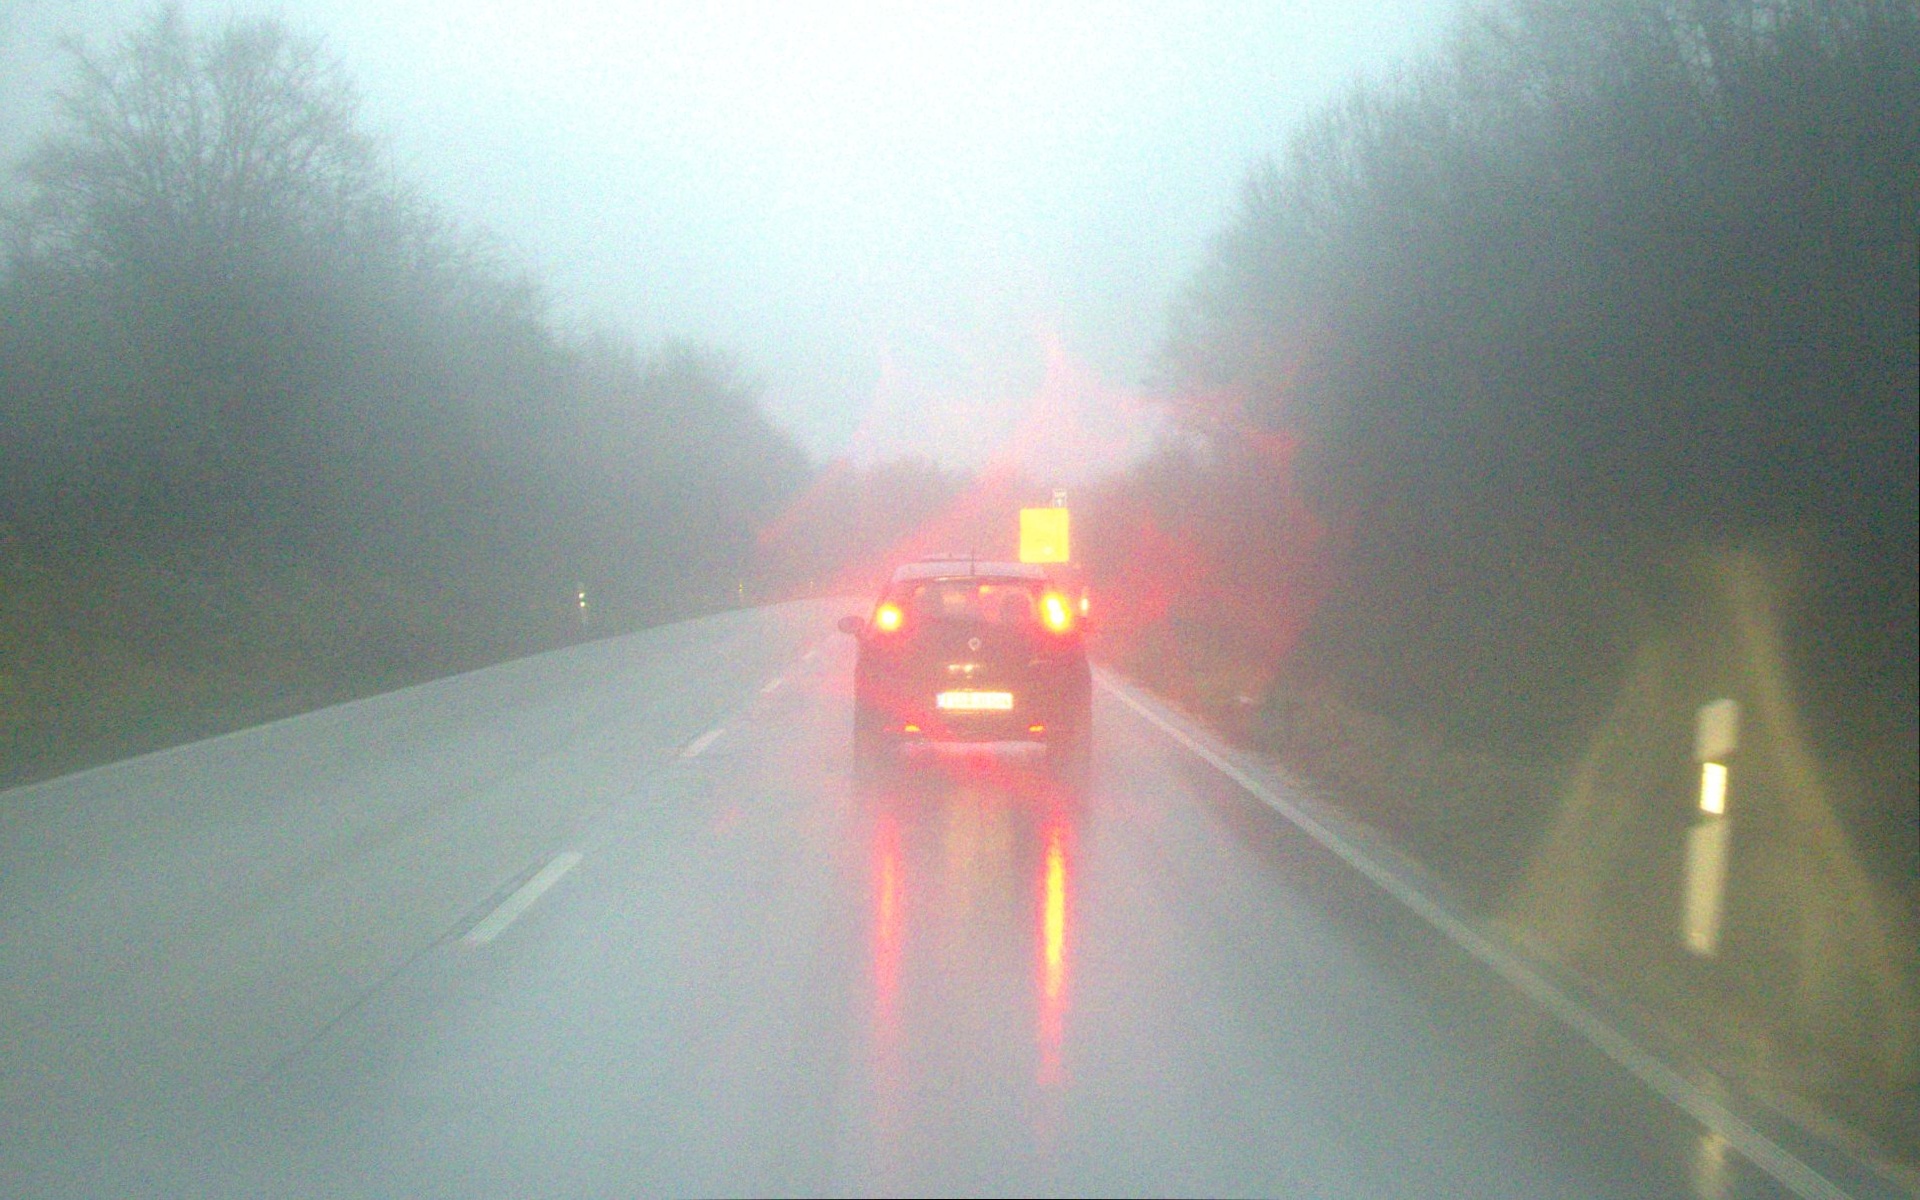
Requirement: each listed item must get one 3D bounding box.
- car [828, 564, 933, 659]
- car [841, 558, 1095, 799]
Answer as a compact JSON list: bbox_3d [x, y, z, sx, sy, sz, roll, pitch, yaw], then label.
[{"bbox_3d":[-1.406,0.186,61.844,1.728,1.638,4.000,0,0,1],"label":"car"},{"bbox_3d":[0.083,0.518,25.501,1.728,1.638,4.000,0,0,1],"label":"car"}]
